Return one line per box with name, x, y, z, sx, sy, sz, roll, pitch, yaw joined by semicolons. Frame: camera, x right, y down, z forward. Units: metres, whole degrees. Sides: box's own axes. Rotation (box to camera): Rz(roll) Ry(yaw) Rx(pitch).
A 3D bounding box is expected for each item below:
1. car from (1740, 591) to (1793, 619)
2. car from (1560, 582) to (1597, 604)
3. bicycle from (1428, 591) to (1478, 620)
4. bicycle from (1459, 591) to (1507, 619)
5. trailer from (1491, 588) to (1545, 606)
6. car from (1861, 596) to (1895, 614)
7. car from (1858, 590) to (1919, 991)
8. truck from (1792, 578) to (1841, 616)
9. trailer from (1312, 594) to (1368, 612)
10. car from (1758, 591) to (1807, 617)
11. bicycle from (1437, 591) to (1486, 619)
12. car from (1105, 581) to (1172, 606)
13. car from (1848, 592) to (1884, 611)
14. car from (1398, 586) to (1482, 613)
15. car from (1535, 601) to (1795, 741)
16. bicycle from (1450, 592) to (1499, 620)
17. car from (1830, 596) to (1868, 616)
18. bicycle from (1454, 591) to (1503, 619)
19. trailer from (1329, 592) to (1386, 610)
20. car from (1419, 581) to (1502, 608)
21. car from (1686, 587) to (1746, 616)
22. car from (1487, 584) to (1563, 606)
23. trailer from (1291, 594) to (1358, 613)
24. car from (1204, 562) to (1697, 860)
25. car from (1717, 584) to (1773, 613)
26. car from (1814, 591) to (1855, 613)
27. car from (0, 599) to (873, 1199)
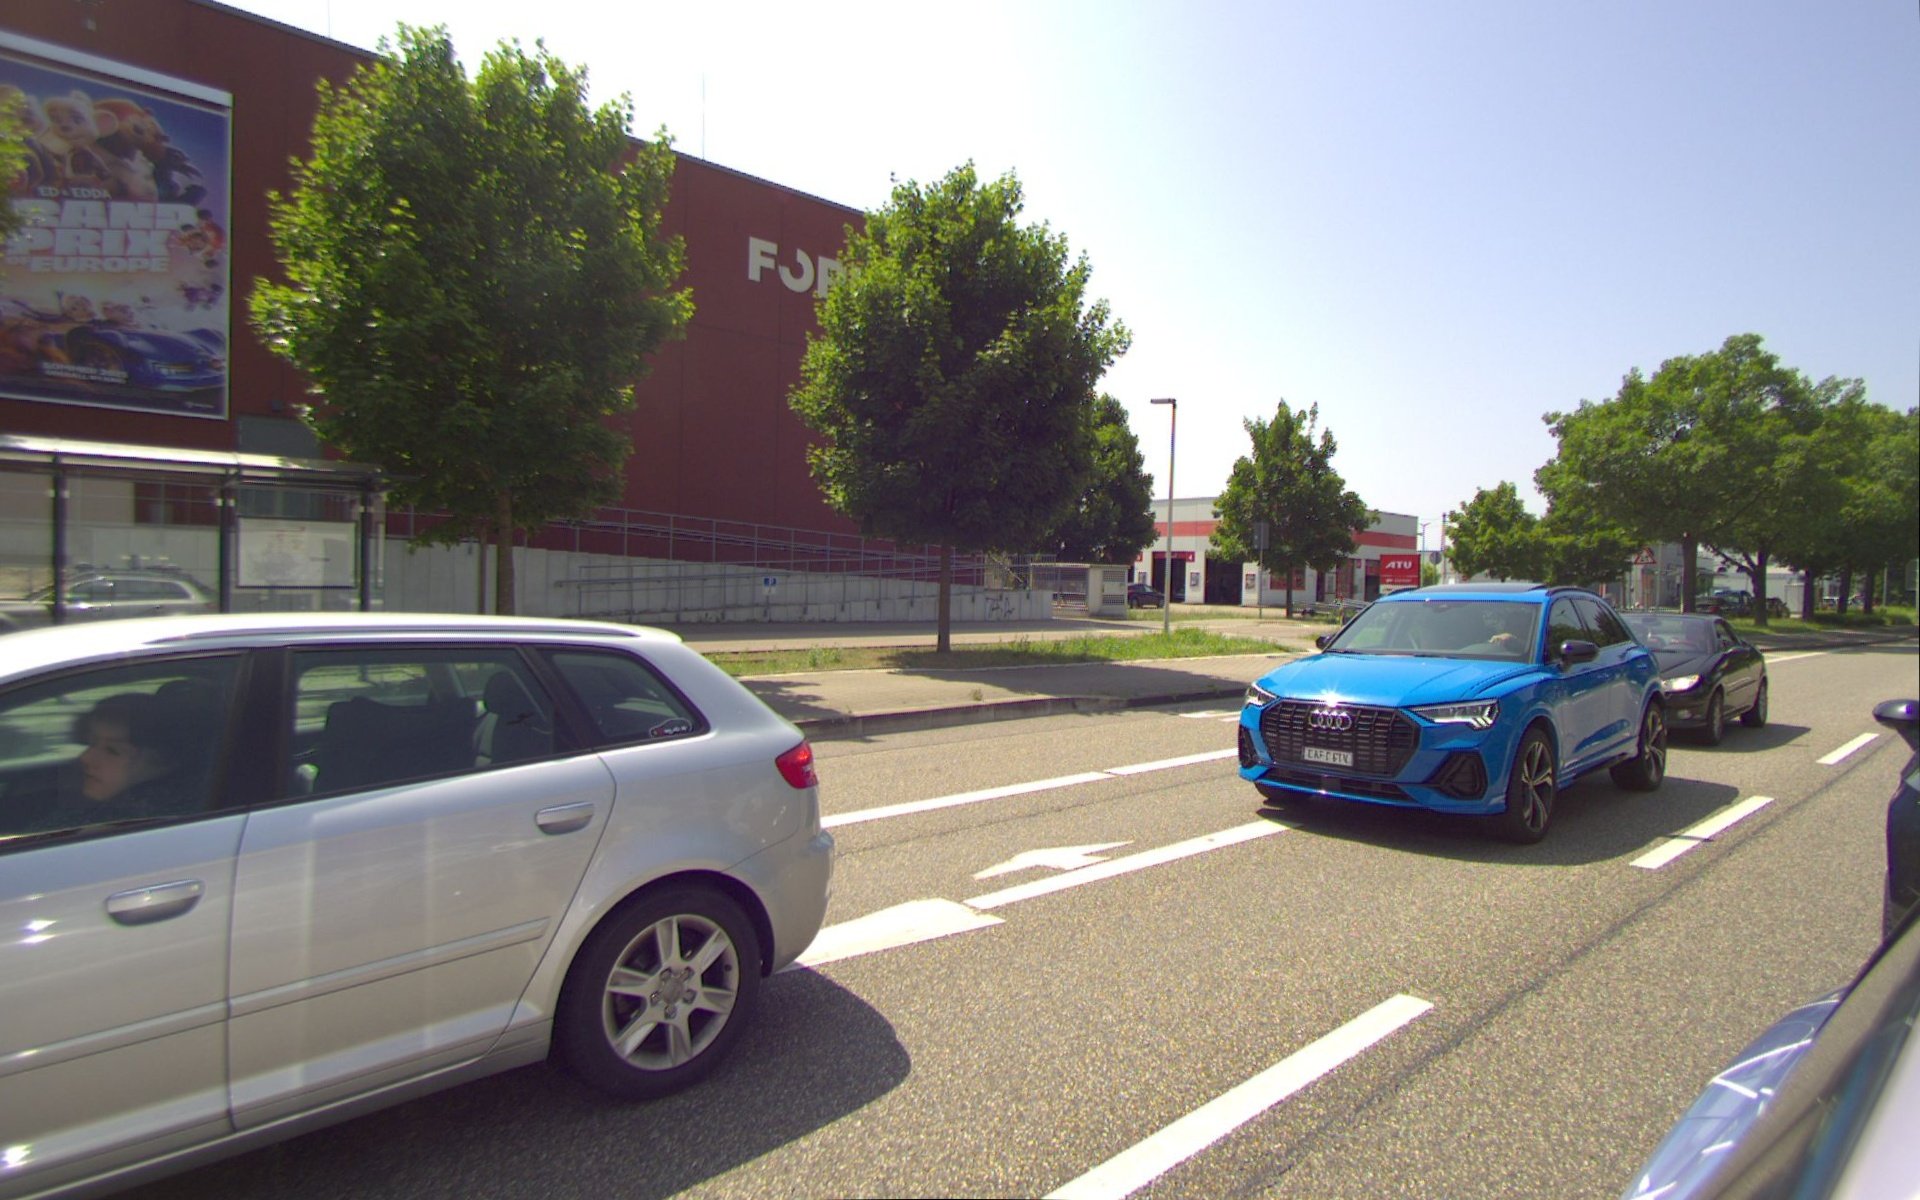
car;47.395;0.267;59.443;3.930;1.539;1.719;0;2;-41
car;48.421;-0.537;79.224;1.753;1.616;3.940;2;2;42
bicycle;20.745;0.216;42.604;1.779;1.138;0.506;3;1;43
bicycle;22.857;0.213;44.263;1.779;1.138;0.506;3;1;43
trailer;35.030;-0.183;63.561;1.552;1.065;2.638;0;2;-43
car;80.071;0.390;88.252;3.930;1.485;1.719;0;2;-41
car;5.312;0.707;4.422;3.931;1.421;1.640;0;2;-42
truck;60.389;-0.215;71.326;3.929;2.599;1.904;0;1;-40
trailer;17.734;0.127;47.280;1.244;0.771;2.137;0;2;-39
car;51.771;0.232;63.660;3.930;1.532;1.719;0;2;-41
bicycle;21.259;0.202;42.949;1.779;1.138;0.506;3;1;43
car;10.553;-0.398;59.766;4.074;1.390;1.716;0;2;-42
car;75.372;0.099;84.189;3.930;1.485;1.719;0;2;-41
car;27.442;-0.043;57.910;1.718;1.419;3.992;0;2;-43
car;8.291;0.698;11.772;3.931;1.361;1.640;0;-1;-42
bicycle;21.981;0.236;43.232;1.779;1.138;0.506;3;1;43
car;69.767;0.473;79.388;3.930;1.485;1.719;0;2;-41
bicycle;22.390;0.195;43.723;1.779;1.138;0.506;3;1;43
trailer;18.985;0.060;48.303;1.369;0.771;2.137;0;2;-39
car;29.234;-0.344;59.193;1.718;1.419;3.991;0;2;-44
car;38.934;0.054;52.107;3.930;1.388;1.641;0;2;-41
car;36.492;-0.342;65.396;1.662;1.317;3.991;0;2;-44
trailer;16.466;0.154;45.787;1.423;0.771;2.467;0;2;-39
car;3.876;0.581;7.616;4.324;1.616;1.840;0;1;-42
car;43.557;-0.094;56.121;3.930;1.485;1.719;0;2;-41
car;64.803;0.151;74.976;3.930;1.485;1.719;0;2;-41
car;-2.346;0.692;2.732;4.022;1.379;1.714;0;0;-43
